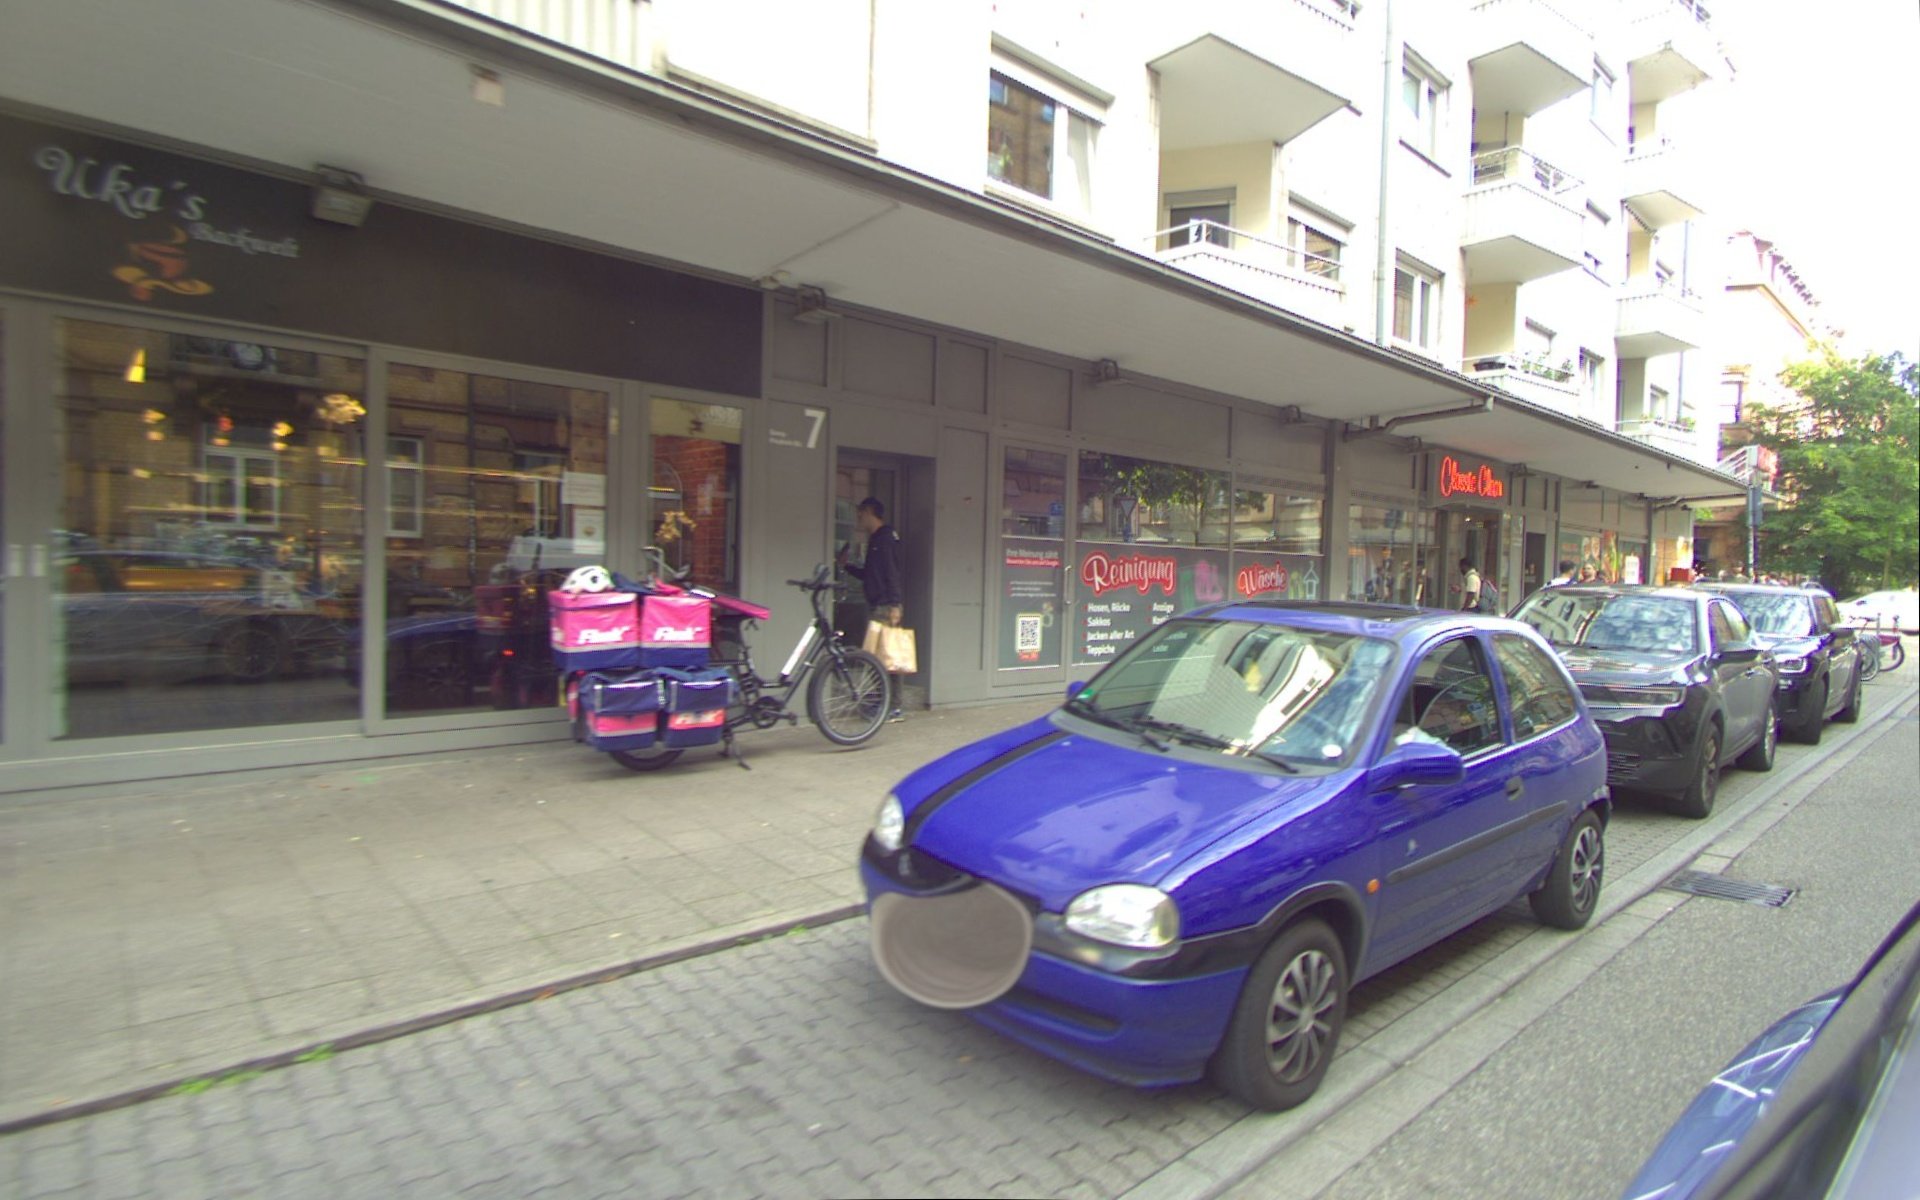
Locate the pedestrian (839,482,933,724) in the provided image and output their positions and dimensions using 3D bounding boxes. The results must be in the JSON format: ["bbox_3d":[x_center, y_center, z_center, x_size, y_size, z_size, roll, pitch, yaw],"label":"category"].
[{"bbox_3d":[-0.620,0.016,8.276,0.631,1.883,0.711,1,1,-13],"label":"pedestrian"}]

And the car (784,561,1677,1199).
[{"bbox_3d":[1.419,0.638,4.195,3.959,1.457,1.599,0,3,-41],"label":"car"}]

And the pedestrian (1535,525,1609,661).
[{"bbox_3d":[8.221,-0.096,13.576,0.612,1.748,1.109,1,0,43],"label":"pedestrian"}]

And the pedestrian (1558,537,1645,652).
[{"bbox_3d":[10.446,-0.098,16.478,1.031,1.767,0.850,0,4,-44],"label":"pedestrian"}]

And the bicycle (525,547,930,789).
[{"bbox_3d":[-1.456,0.353,6.723,2.456,1.306,0.920,0,4,-42],"label":"bicycle"}]

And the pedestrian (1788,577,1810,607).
[{"bbox_3d":[38.244,-0.354,46.131,0.543,1.316,0.617,2,3,24],"label":"pedestrian"}]

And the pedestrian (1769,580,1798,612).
[{"bbox_3d":[36.631,-0.166,45.020,0.656,1.395,0.718,1,2,-7],"label":"pedestrian"}]

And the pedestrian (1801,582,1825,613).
[{"bbox_3d":[37.067,-0.096,43.980,0.725,1.332,0.514,1,0,37],"label":"pedestrian"}]

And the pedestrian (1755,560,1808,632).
[{"bbox_3d":[21.741,-0.112,26.795,0.619,1.818,0.716,4,3,-9],"label":"pedestrian"}]

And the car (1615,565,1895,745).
[{"bbox_3d":[9.003,0.485,11.352,3.857,1.625,1.796,0,3,-42],"label":"car"}]

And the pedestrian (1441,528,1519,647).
[{"bbox_3d":[8.153,-0.211,15.871,0.814,1.767,0.705,6,4,41],"label":"pedestrian"}]

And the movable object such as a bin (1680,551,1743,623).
[{"bbox_3d":[19.179,-0.334,25.817,2.381,1.766,0.781,0,2,-42],"label":"movable object such as a bin"}]

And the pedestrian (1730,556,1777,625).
[{"bbox_3d":[21.767,-0.258,27.755,0.645,1.818,0.657,3,3,-29],"label":"pedestrian"}]

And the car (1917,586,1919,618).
[{"bbox_3d":[43.896,0.245,43.541,3.549,1.396,1.502,5,3,23],"label":"car"}]

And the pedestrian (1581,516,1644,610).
[{"bbox_3d":[11.937,-0.677,18.521,0.700,1.652,0.723,0,4,-44],"label":"pedestrian"}]

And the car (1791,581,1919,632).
[{"bbox_3d":[31.647,0.237,34.467,4.793,1.617,1.926,2,1,29],"label":"car"}]

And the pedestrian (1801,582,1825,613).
[{"bbox_3d":[37.410,-0.098,44.386,0.725,1.332,0.514,1,0,37],"label":"pedestrian"}]

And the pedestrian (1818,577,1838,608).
[{"bbox_3d":[39.445,-0.340,45.997,0.462,1.343,0.617,2,3,24],"label":"pedestrian"}]

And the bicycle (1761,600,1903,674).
[{"bbox_3d":[15.134,0.620,17.630,1.786,1.083,0.561,6,3,39],"label":"bicycle"}]

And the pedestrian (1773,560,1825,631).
[{"bbox_3d":[22.358,-0.133,26.975,0.704,1.818,0.630,5,3,13],"label":"pedestrian"}]

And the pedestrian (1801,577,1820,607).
[{"bbox_3d":[39.252,-0.353,46.688,0.462,1.343,0.617,2,3,24],"label":"pedestrian"}]

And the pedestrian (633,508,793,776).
[{"bbox_3d":[-1.606,0.232,6.567,0.767,1.607,0.645,0,4,-40],"label":"pedestrian"}]

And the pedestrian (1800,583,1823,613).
[{"bbox_3d":[37.768,-0.101,44.912,0.725,1.332,0.600,1,0,36],"label":"pedestrian"}]

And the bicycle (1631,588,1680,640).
[{"bbox_3d":[15.643,0.299,22.793,0.672,1.055,1.717,3,3,28],"label":"bicycle"}]

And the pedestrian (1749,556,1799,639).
[{"bbox_3d":[18.003,-0.075,22.384,0.763,1.775,0.916,3,2,42],"label":"pedestrian"}]

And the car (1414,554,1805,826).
[{"bbox_3d":[5.271,0.513,8.006,3.837,1.596,1.690,0,3,-44],"label":"car"}]

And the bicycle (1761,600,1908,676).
[{"bbox_3d":[14.713,0.620,17.091,1.786,1.083,0.578,6,3,39],"label":"bicycle"}]

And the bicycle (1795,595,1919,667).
[{"bbox_3d":[16.934,0.556,18.927,0.892,1.138,1.886,0,5,-43],"label":"bicycle"}]
